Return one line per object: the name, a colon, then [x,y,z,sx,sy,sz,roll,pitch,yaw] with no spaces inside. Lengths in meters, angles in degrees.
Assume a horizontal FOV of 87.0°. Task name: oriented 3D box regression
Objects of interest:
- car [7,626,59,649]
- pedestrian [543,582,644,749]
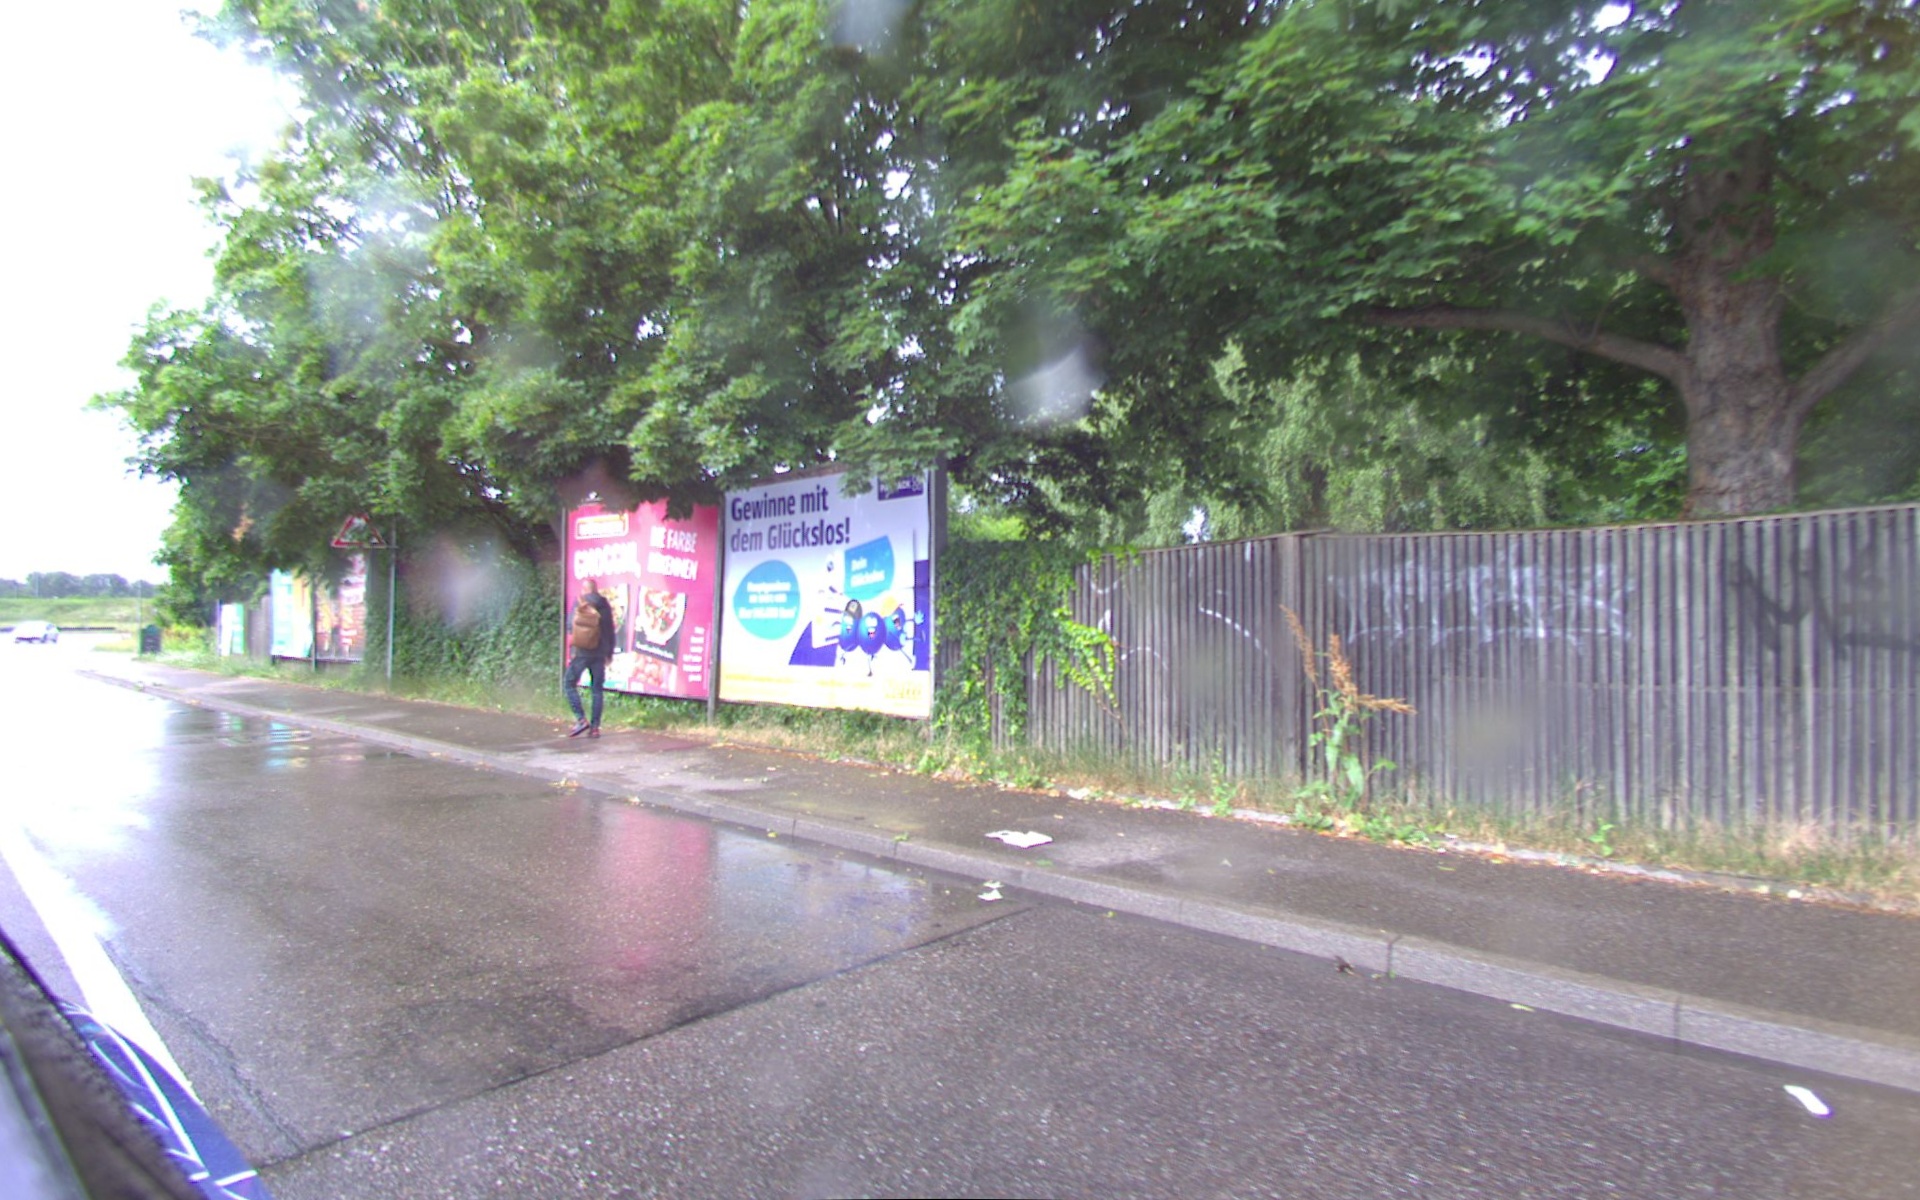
car: [-70.228,2.788,76.706,1.767,1.645,3.831,0,-1,-24]
pedestrian: [-4.104,0.699,11.351,0.644,1.783,0.830,-1,0,41]
